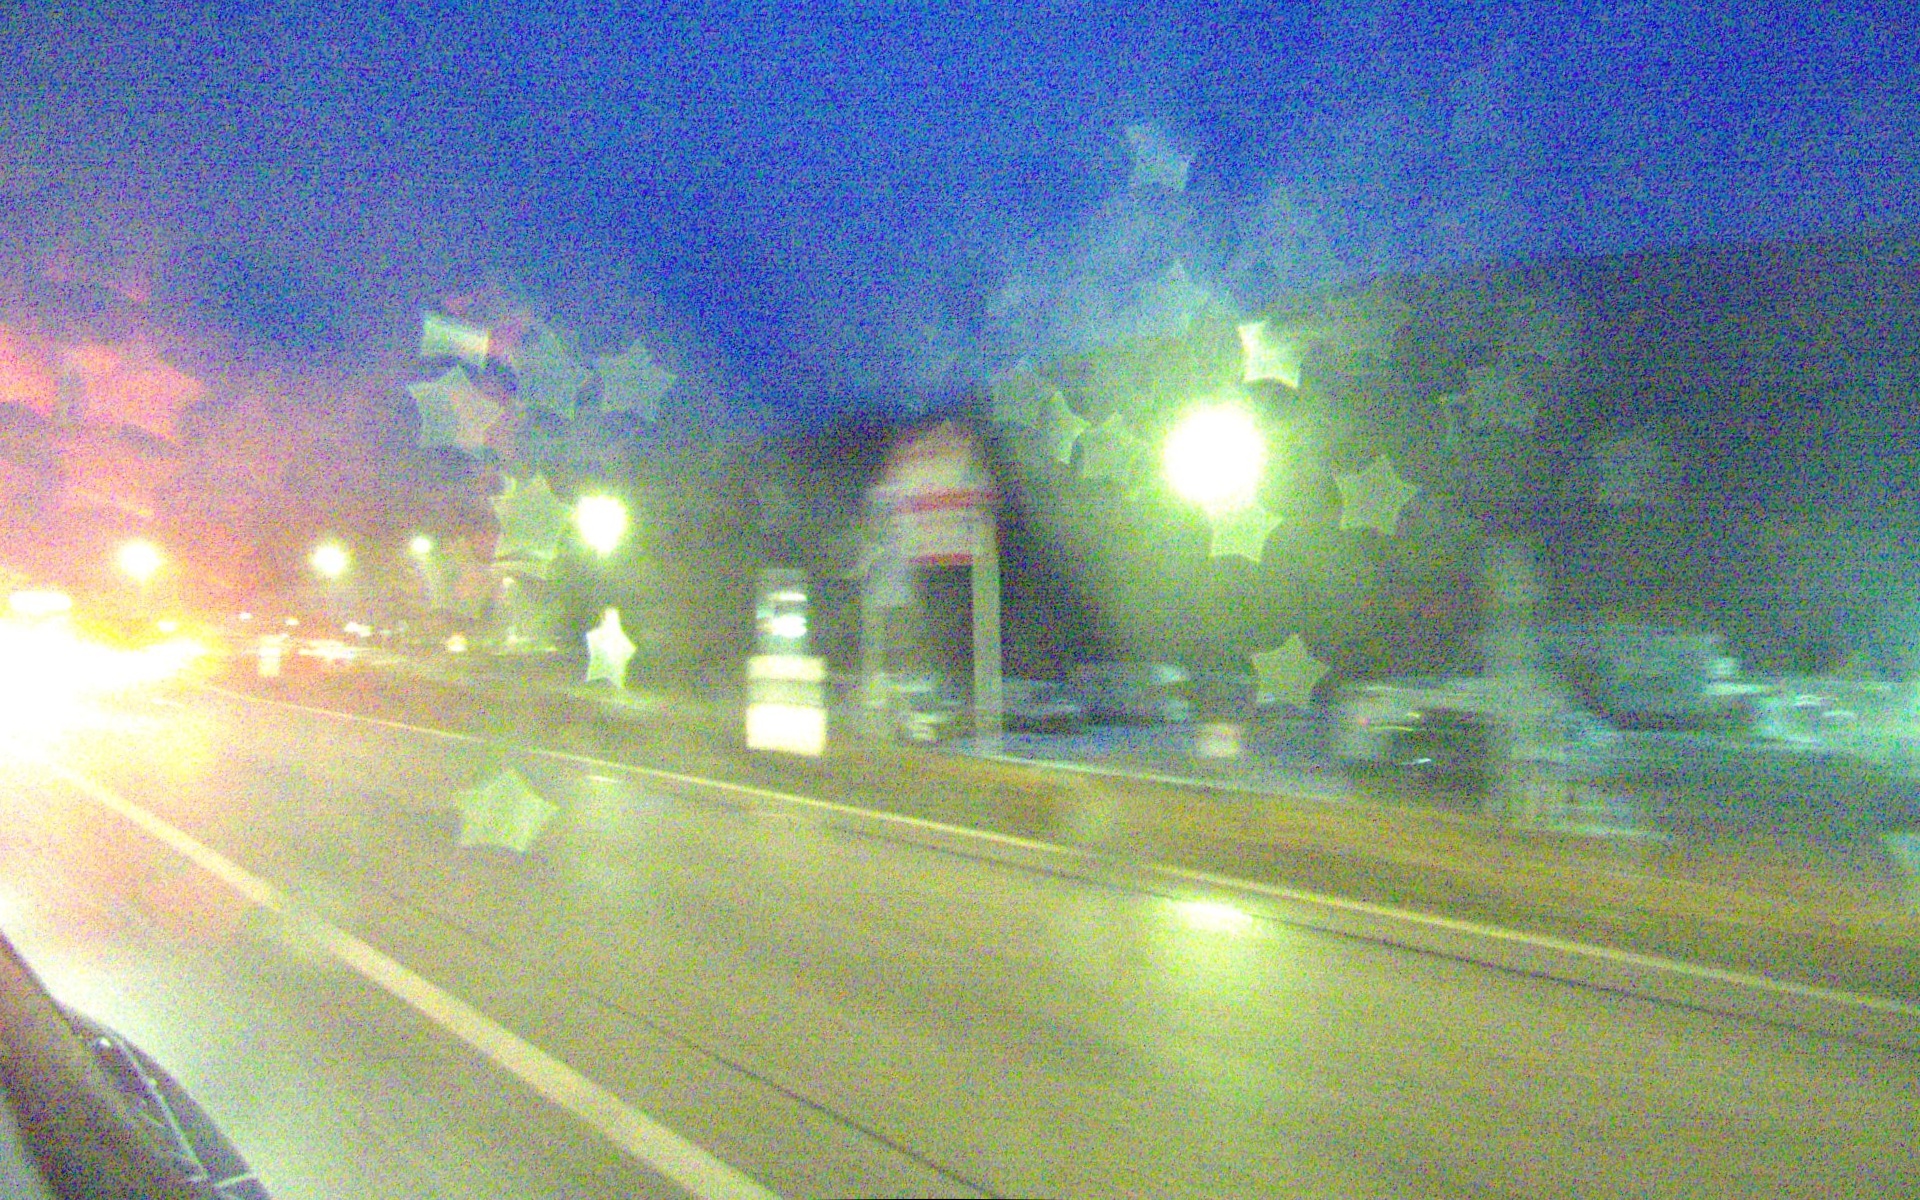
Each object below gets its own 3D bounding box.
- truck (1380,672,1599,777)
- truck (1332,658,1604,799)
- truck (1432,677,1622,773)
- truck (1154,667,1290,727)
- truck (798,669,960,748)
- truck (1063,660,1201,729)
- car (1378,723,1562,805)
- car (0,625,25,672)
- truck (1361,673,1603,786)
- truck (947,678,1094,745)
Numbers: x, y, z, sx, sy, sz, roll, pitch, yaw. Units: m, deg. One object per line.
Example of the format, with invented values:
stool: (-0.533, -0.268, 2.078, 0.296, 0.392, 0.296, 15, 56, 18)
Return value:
truck: (19.891, 4.594, 38.221, 7.036, 3.285, 2.413, 1, -5, 35)
truck: (15.242, 3.726, 30.625, 7.039, 3.506, 2.444, 0, -5, 37)
truck: (23.078, 5.008, 41.341, 6.553, 3.285, 2.413, 1, -5, 35)
truck: (14.277, 5.263, 55.480, 6.862, 2.825, 2.147, 0, -5, 39)
truck: (-3.268, 4.162, 39.394, 6.873, 2.538, 2.143, -1, -6, 44)
truck: (8.765, 4.834, 52.108, 6.687, 3.068, 2.147, 0, -5, 39)
car: (13.842, 4.384, 27.554, 4.276, 1.727, 1.706, 1, -5, 35)
car: (-29.214, 1.430, 30.138, 4.140, 1.365, 1.617, -1, -1, 42)
truck: (17.600, 4.259, 34.334, 7.036, 3.121, 2.413, 1, -5, 35)
truck: (2.672, 5.033, 46.378, 6.873, 2.538, 2.143, -1, -6, 44)
